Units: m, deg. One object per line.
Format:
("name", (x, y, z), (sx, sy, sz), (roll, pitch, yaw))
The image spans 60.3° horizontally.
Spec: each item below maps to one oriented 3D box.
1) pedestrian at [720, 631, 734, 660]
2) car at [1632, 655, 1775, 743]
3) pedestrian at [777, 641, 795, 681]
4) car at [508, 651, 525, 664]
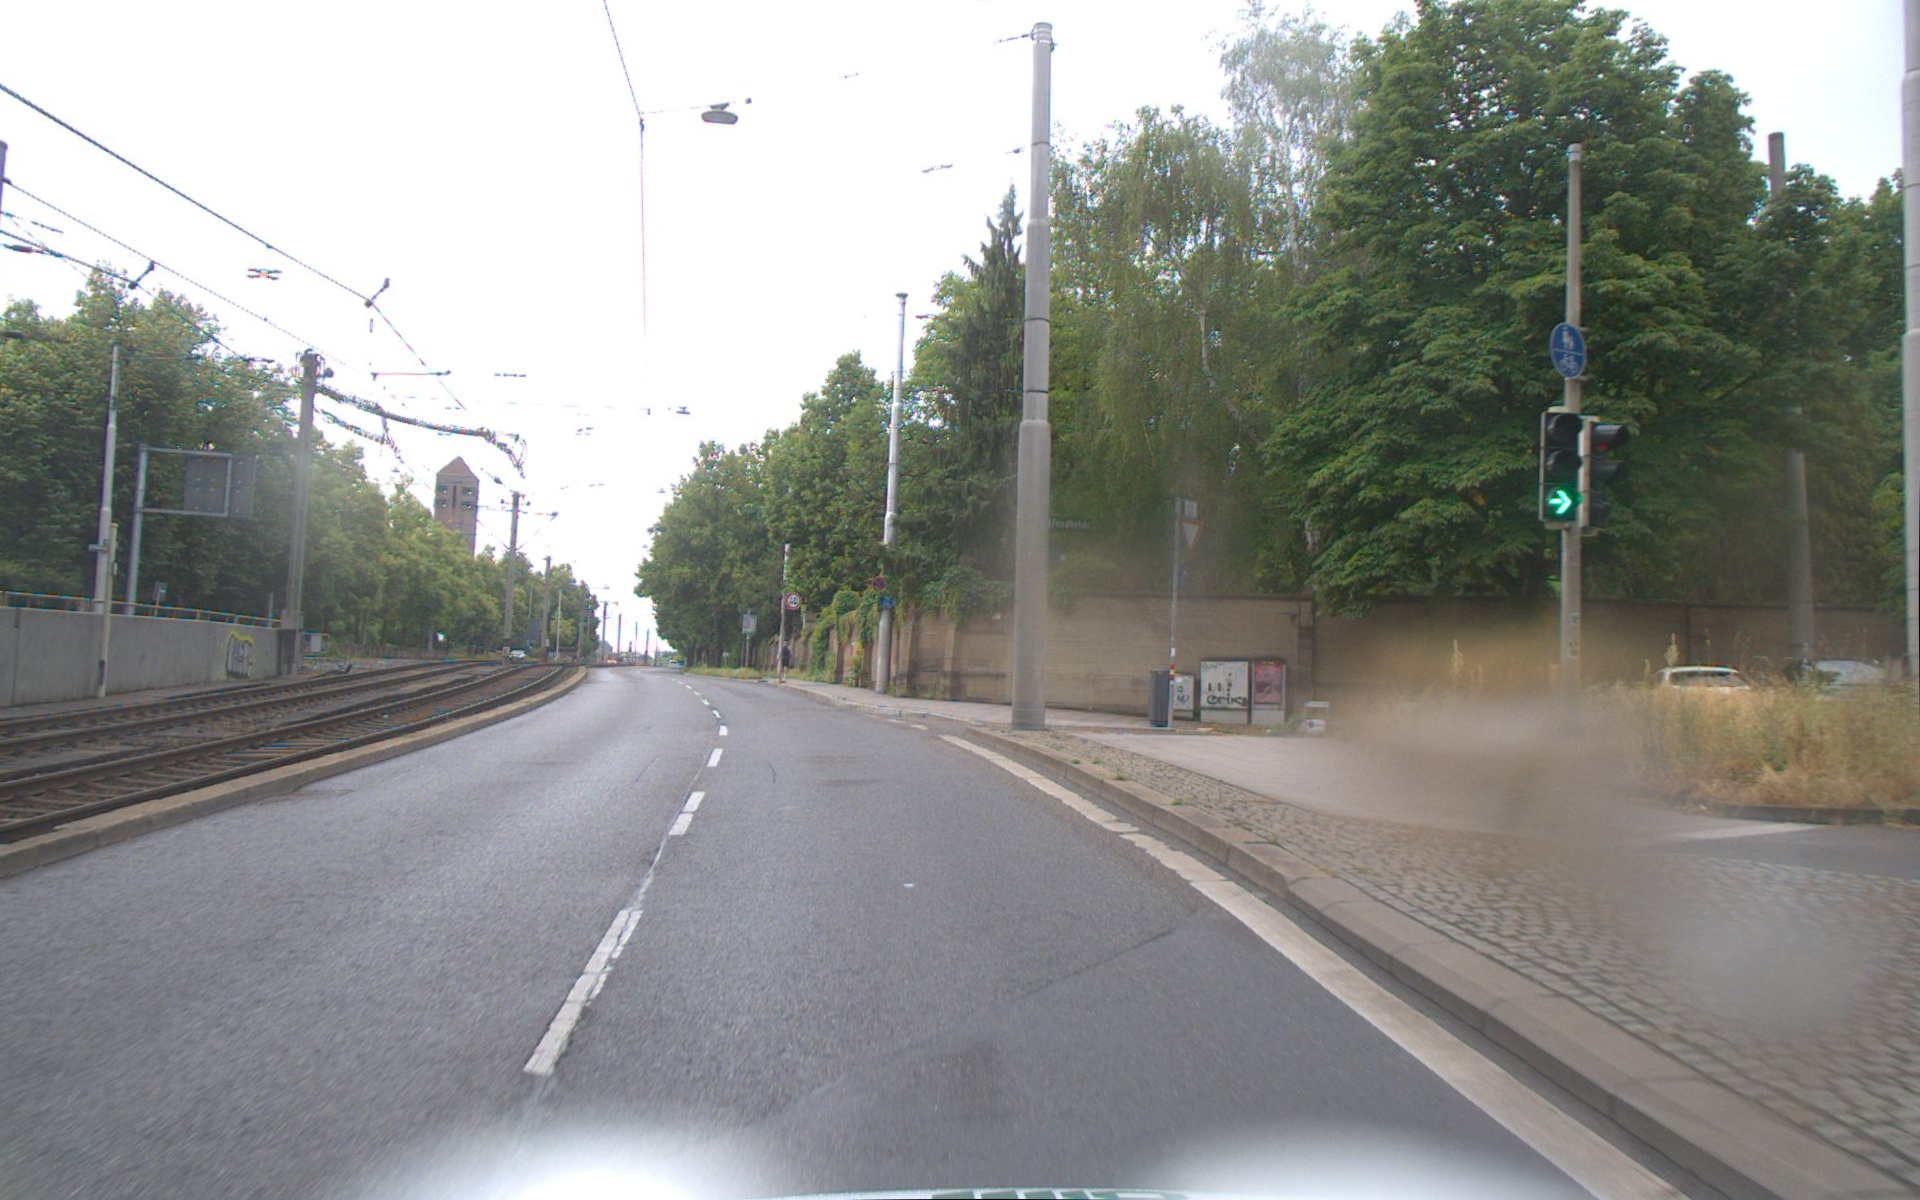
("pedestrian", (-14.330, 2.791, 101.726), (0.707, 1.717, 0.727), (4, -3, -10))
("car", (13.371, 1.804, 29.962), (1.716, 1.431, 4.002), (1, -4, 15))
("pedestrian", (-8.475, 2.979, 80.413), (0.707, 1.882, 0.781), (4, -3, -10))
("car", (-56.210, 7.340, 209.611), (1.762, 1.537, 3.838), (3, -2, -10))
